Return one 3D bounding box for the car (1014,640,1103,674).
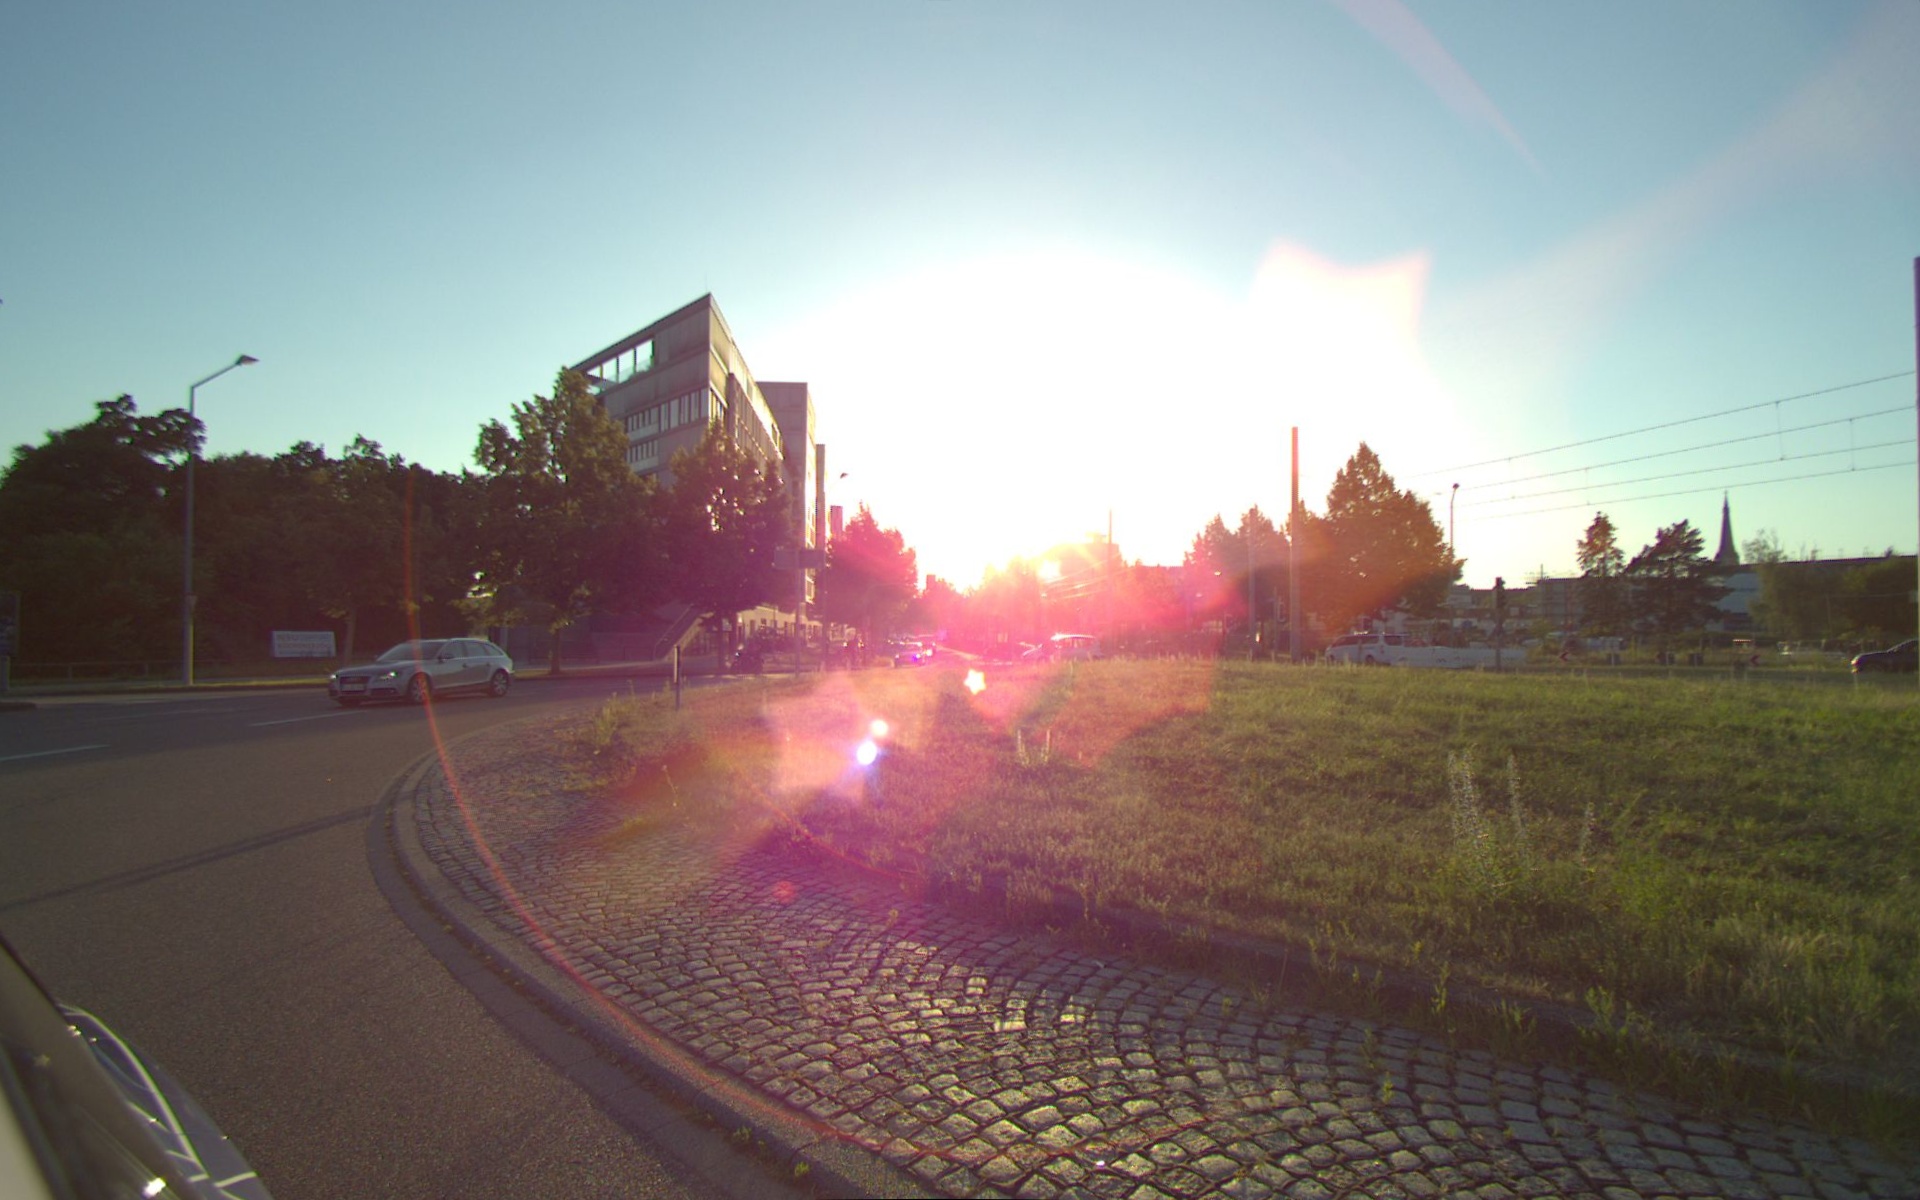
[{"bbox_3d":[4.447,2.576,45.847,3.649,1.477,1.610,0,-3,-13],"label":"car"}]

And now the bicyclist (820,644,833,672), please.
[{"bbox_3d":[-7.922,3.438,60.020,0.673,1.661,0.685,0,-3,-14],"label":"bicyclist"}]

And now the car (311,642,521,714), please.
[{"bbox_3d":[-11.900,1.671,22.528,1.783,1.434,4.435,-1,-3,9],"label":"car"}]

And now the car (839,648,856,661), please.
[{"bbox_3d":[-12.439,6.031,112.239,1.776,1.475,4.004,0,-3,-5],"label":"car"}]

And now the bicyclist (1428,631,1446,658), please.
[{"bbox_3d":[29.323,2.752,62.222,0.799,1.646,0.685,-3,-4,45],"label":"bicyclist"}]

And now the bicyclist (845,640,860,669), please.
[{"bbox_3d":[-6.540,3.304,61.575,0.838,1.769,0.803,0,-3,2],"label":"bicyclist"}]

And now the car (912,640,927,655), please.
[{"bbox_3d":[-5.400,6.260,133.540,1.693,1.852,4.006,0,-2,-7],"label":"car"}]

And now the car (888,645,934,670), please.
[{"bbox_3d":[-3.059,3.601,64.053,1.874,1.492,4.033,-1,-2,13],"label":"car"}]

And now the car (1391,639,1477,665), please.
[{"bbox_3d":[24.583,2.688,52.577,1.552,1.265,3.791,0,-3,-31],"label":"car"}]

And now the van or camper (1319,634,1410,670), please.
[{"bbox_3d":[24.274,3.163,60.979,1.882,2.025,5.319,1,-4,-23],"label":"van or camper"}]

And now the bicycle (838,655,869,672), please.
[{"bbox_3d":[-6.503,3.877,61.838,1.839,1.030,0.437,0,-3,3],"label":"bicycle"}]

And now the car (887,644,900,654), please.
[{"bbox_3d":[-9.838,7.245,150.089,1.776,1.475,4.004,0,-3,-5],"label":"car"}]

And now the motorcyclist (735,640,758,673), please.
[{"bbox_3d":[-9.302,2.452,44.106,0.634,1.427,0.707,-2,-3,31],"label":"motorcyclist"}]

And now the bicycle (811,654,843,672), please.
[{"bbox_3d":[-7.864,3.731,59.809,1.832,1.030,0.309,0,-3,-14],"label":"bicycle"}]

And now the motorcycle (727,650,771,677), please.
[{"bbox_3d":[-9.211,2.746,44.237,0.556,1.109,2.137,-2,-2,31],"label":"motorcycle"}]

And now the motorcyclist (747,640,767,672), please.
[{"bbox_3d":[-8.946,2.466,44.648,0.634,1.419,0.588,-2,-3,32],"label":"motorcyclist"}]

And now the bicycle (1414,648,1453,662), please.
[{"bbox_3d":[29.202,3.382,62.452,0.505,0.852,2.136,3,-4,-45],"label":"bicycle"}]

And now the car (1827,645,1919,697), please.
[{"bbox_3d":[33.230,2.427,35.014,1.723,1.761,4.607,2,-3,-37],"label":"car"}]

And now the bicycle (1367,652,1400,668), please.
[{"bbox_3d":[26.841,3.824,64.134,1.817,0.988,0.550,0,-3,0],"label":"bicycle"}]

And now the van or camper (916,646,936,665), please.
[{"bbox_3d":[-3.770,6.175,112.481,1.972,1.972,5.326,0,-2,1],"label":"van or camper"}]
